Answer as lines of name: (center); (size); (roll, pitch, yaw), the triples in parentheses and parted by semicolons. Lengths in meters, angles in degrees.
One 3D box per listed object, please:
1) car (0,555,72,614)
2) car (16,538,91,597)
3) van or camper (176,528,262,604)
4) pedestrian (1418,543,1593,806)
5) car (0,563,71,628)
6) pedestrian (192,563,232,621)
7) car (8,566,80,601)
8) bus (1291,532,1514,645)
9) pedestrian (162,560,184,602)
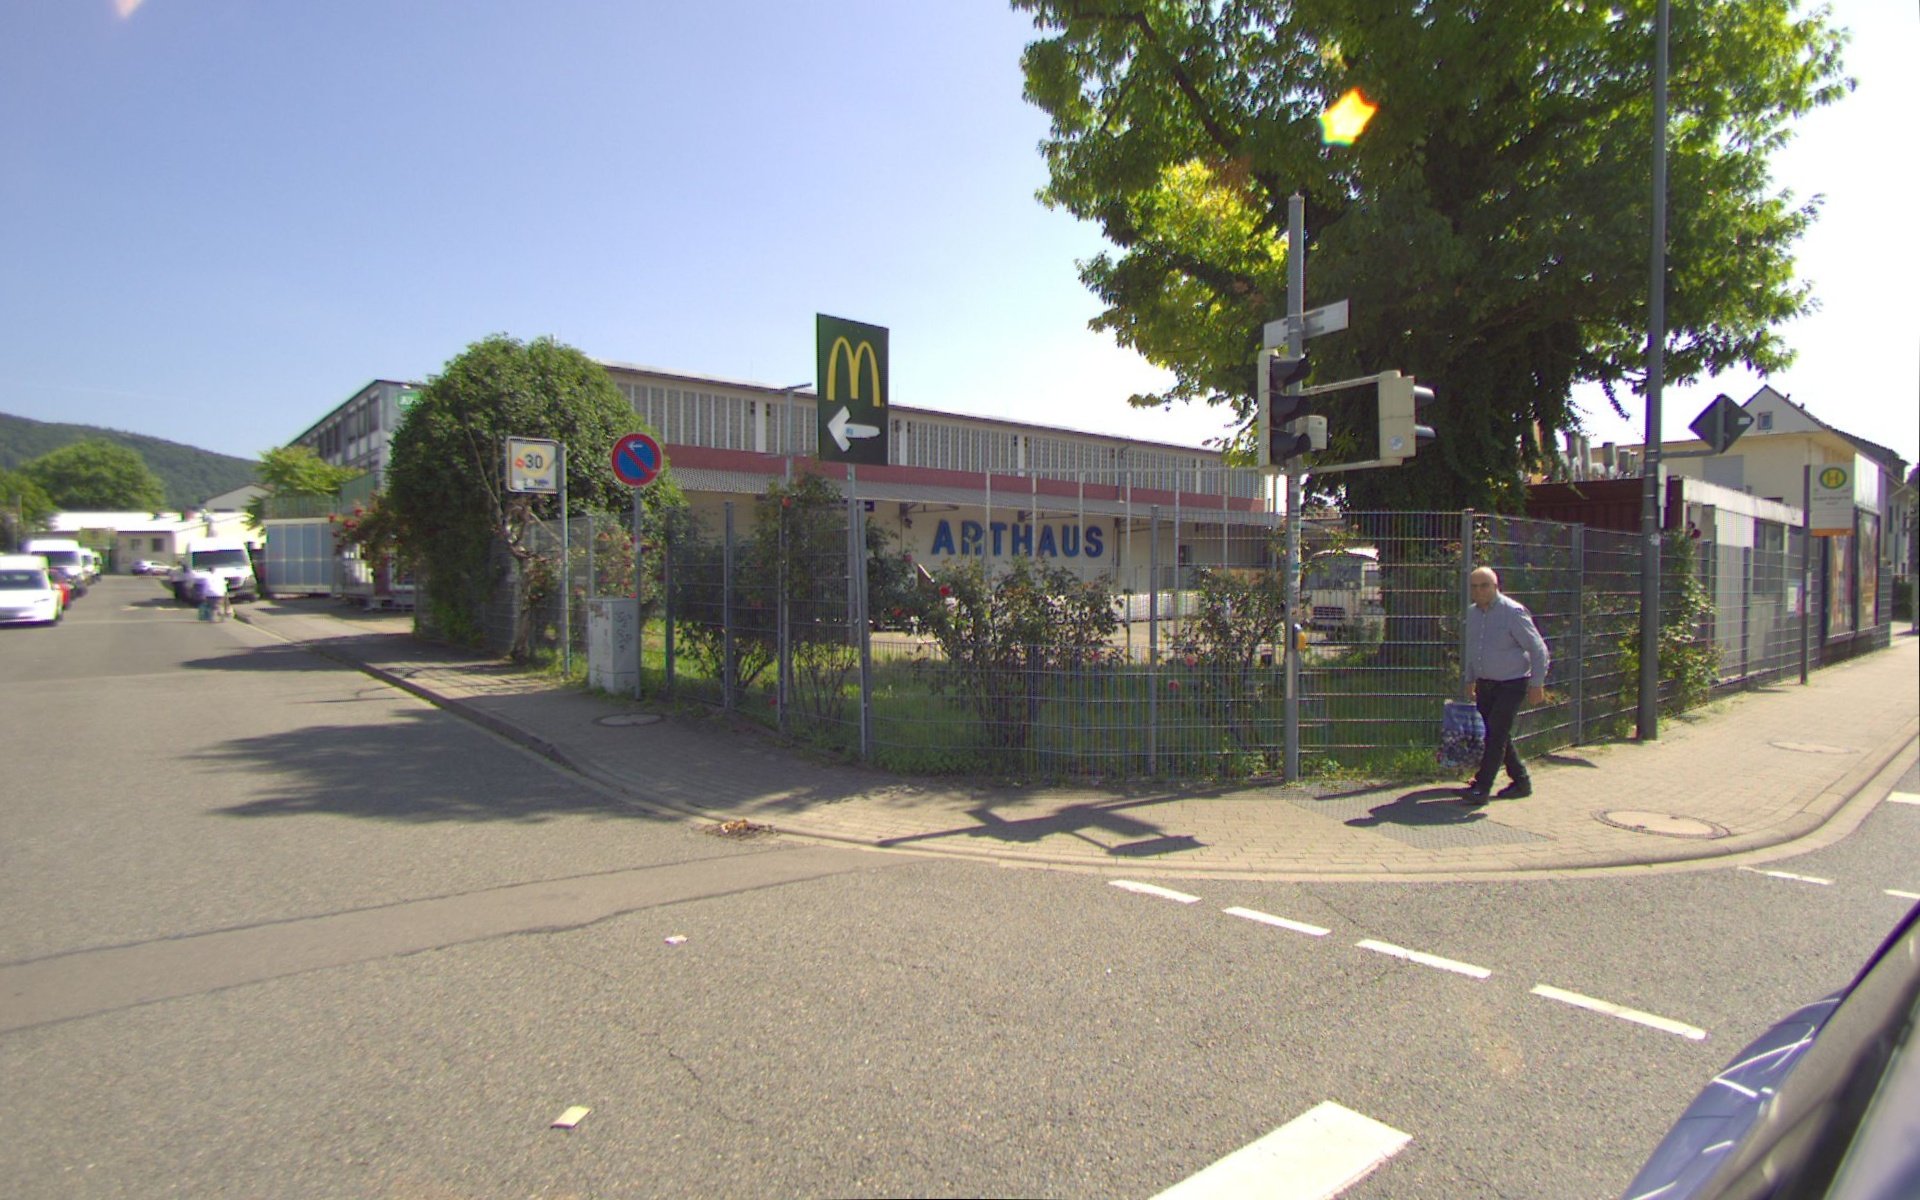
car: (-29.991, -0.518, 32.404); (1.963, 1.760, 4.297); (0, 1, -37)
car: (-42.213, -1.498, 47.241); (2.072, 2.558, 5.605); (0, 1, -37)
van or camper: (-28.893, -1.308, 39.357); (2.305, 2.713, 6.735); (0, 1, -40)
pedestrian: (3.875, 0.469, 7.195); (0.872, 1.720, 0.813); (0, 2, -43)
car: (-24.345, -0.167, 26.068); (1.858, 1.571, 3.999); (0, 1, -37)
pedestrian: (-20.983, -0.221, 28.390); (0.868, 1.598, 0.789); (0, 1, -40)
car: (-38.362, -0.718, 42.486); (1.858, 1.399, 3.999); (0, 1, -37)
bus: (14.688, -0.557, 33.007); (10.091, 3.210, 2.570); (-3, 3, -41)
pedestrian: (-32.662, -0.802, 41.997); (0.697, 1.709, 0.652); (0, 1, -41)
